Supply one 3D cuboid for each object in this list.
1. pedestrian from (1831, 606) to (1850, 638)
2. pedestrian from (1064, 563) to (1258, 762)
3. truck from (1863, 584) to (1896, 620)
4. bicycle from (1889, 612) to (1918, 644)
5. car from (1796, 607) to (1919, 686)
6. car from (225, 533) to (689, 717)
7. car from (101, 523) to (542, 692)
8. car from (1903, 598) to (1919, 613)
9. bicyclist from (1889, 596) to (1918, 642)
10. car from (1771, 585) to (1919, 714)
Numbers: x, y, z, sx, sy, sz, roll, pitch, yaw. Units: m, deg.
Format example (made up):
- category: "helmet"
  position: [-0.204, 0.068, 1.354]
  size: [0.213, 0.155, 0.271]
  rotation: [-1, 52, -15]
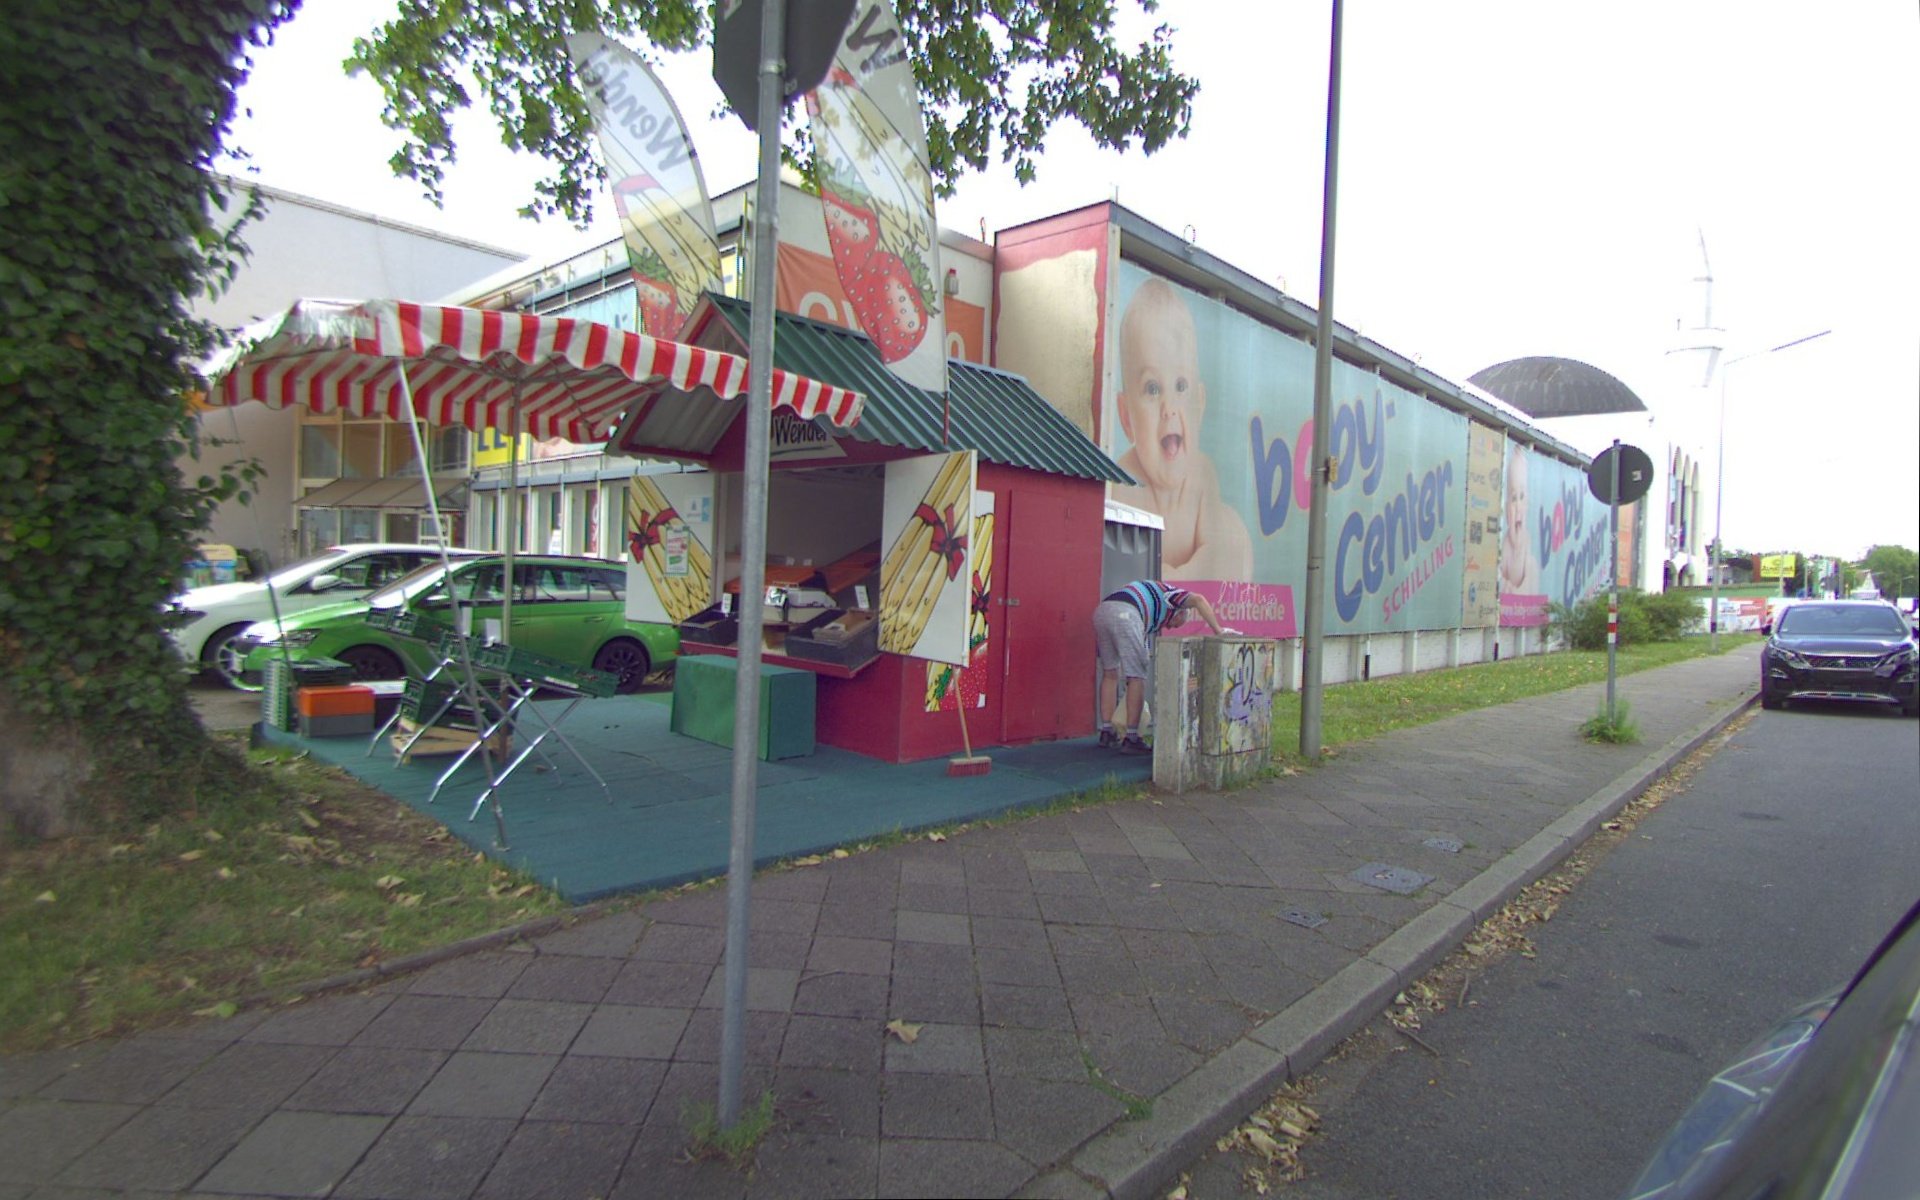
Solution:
- category: "pedestrian"
  position: [44.273, 1.102, 50.893]
  size: [0.680, 1.553, 1.114]
  rotation: [2, 1, 40]
- category: "pedestrian"
  position: [1.477, 0.408, 7.498]
  size: [0.947, 1.330, 1.016]
  rotation: [0, 1, -39]
- category: "truck"
  position: [109.959, 0.300, 121.070]
  size: [2.777, 4.169, 8.151]
  rotation: [-1, -1, 42]
- category: "bicycle"
  position: [37.909, 1.120, 40.679]
  size: [0.797, 1.195, 2.587]
  rotation: [0, 0, 42]
- category: "car"
  position: [18.036, 0.843, 20.152]
  size: [1.808, 1.408, 4.515]
  rotation: [-1, -1, 44]
- category: "car"
  position: [-5.015, 0.186, 10.443]
  size: [3.935, 1.531, 1.741]
  rotation: [0, 2, -45]
- category: "car"
  position: [-7.133, 0.039, 11.645]
  size: [1.737, 1.588, 3.944]
  rotation: [2, 1, 39]
- category: "car"
  position: [131.479, 0.781, 139.688]
  size: [1.792, 1.915, 3.939]
  rotation: [3, 1, 42]
- category: "bicyclist"
  position: [37.923, 0.757, 40.687]
  size: [0.806, 1.815, 1.189]
  rotation: [0, 0, 42]
- category: "car"
  position: [13.629, 0.668, 15.403]
  size: [1.806, 1.687, 4.570]
  rotation: [-1, -1, 41]
